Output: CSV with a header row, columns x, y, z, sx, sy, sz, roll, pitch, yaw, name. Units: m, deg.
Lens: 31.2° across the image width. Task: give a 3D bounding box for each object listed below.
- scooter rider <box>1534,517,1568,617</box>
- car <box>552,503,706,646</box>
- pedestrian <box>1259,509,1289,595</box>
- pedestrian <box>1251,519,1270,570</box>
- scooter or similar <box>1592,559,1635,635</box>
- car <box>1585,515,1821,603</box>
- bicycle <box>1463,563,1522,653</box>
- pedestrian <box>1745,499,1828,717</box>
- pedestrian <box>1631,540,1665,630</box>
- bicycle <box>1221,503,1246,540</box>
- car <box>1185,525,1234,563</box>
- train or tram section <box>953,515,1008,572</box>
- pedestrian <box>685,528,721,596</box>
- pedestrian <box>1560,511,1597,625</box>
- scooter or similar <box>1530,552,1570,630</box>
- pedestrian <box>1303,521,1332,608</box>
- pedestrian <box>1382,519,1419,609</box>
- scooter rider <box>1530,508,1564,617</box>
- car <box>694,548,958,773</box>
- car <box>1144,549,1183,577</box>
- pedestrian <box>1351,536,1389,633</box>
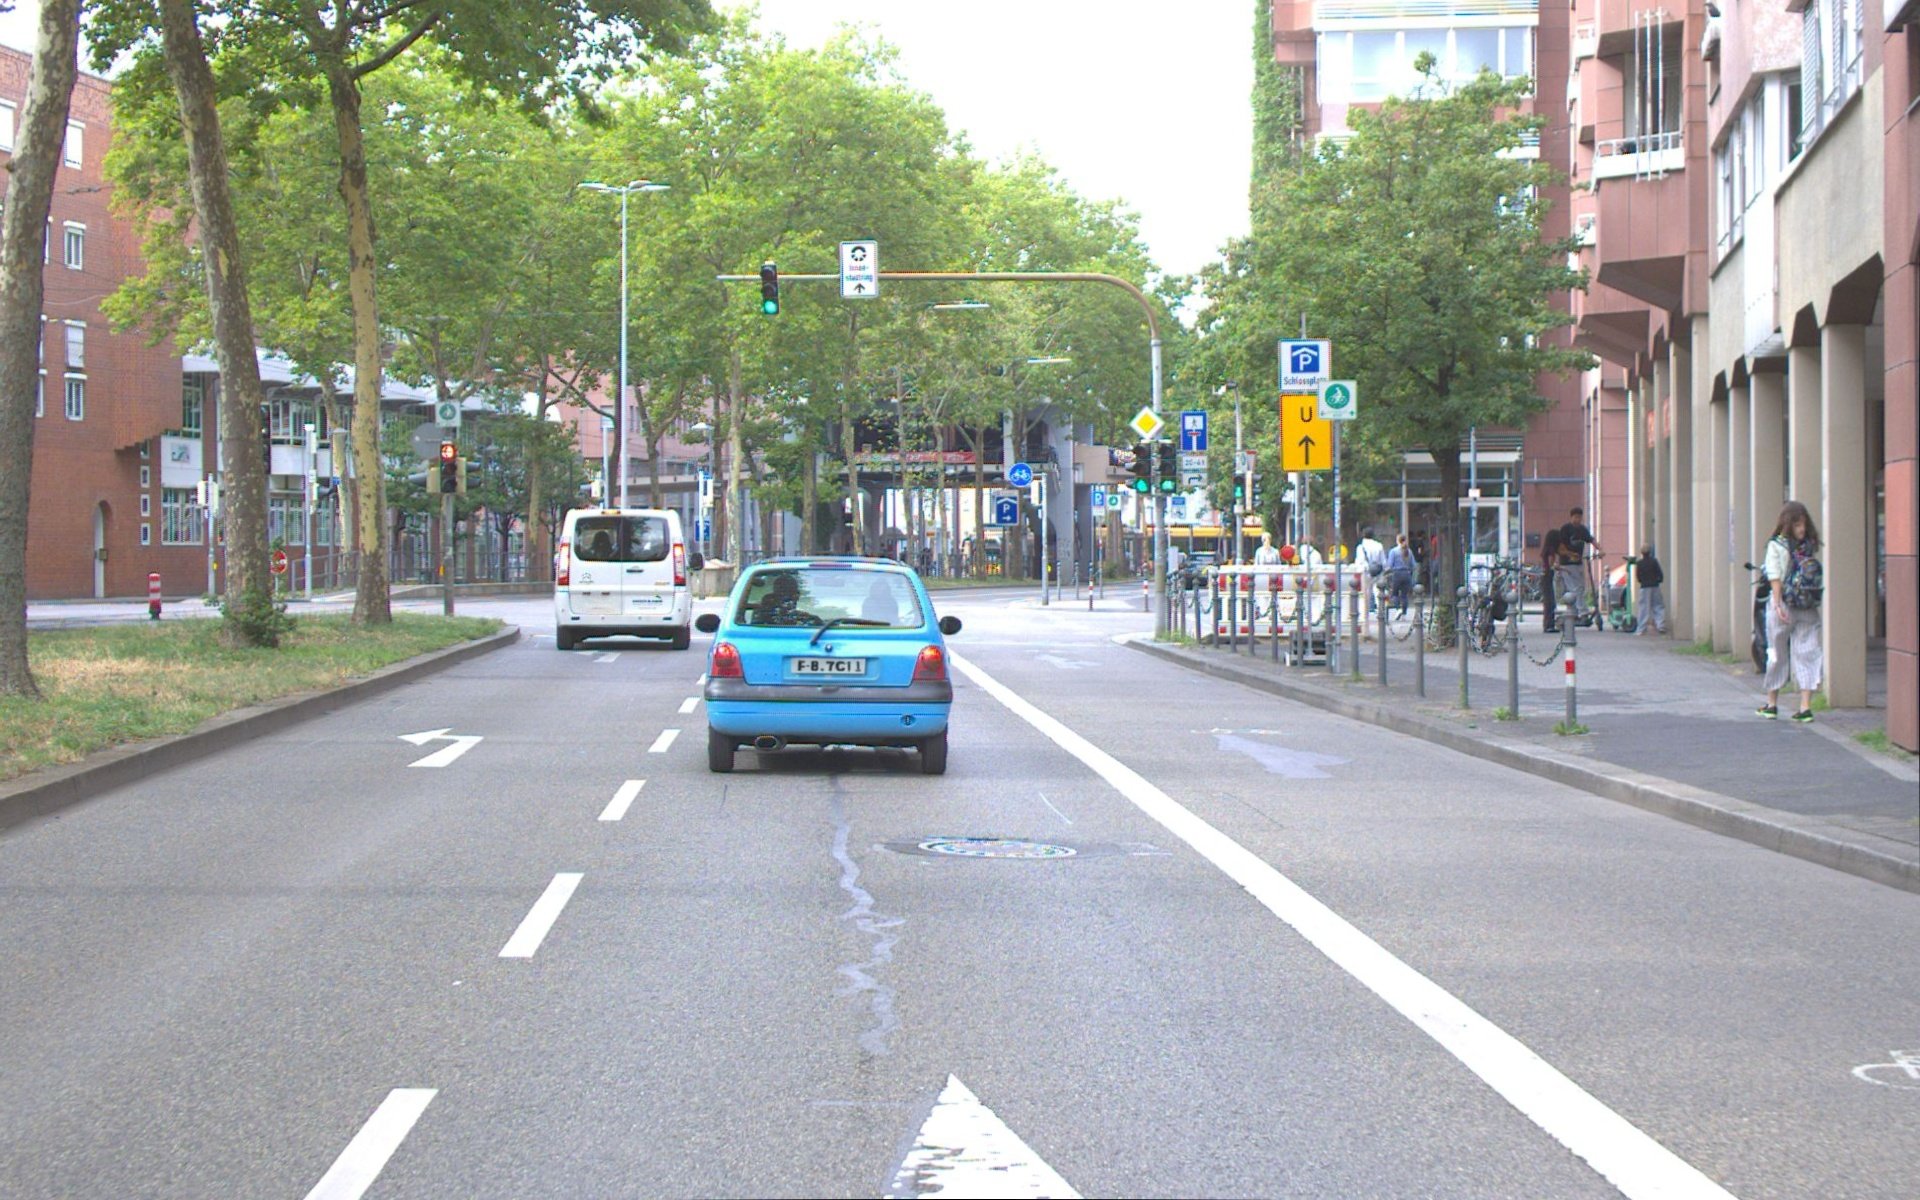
x,y,z,sx,sy,sz,roll,pitch,yaw,name
9.224,-0.514,53.681,0.460,1.552,0.565,0,1,3,scooter rider
-4.652,-0.401,48.896,1.931,1.919,4.956,0,1,-3,car
5.884,-0.899,64.510,0.517,1.610,0.851,0,1,3,pedestrian
11.012,-2.038,126.067,0.647,1.852,0.782,0,1,8,pedestrian
10.232,-0.058,53.837,0.553,1.166,1.406,0,1,7,scooter or similar
15.785,-0.861,73.263,4.829,1.819,1.999,0,-1,10,car
6.792,0.091,43.896,0.612,1.114,1.804,0,1,5,bicycle
6.338,0.052,26.381,0.544,1.644,0.825,0,1,9,pedestrian
10.224,-0.225,51.093,0.487,1.319,0.485,0,1,12,pedestrian
7.525,-2.150,94.657,0.617,1.005,1.735,0,1,3,bicycle
10.564,-2.362,145.452,1.699,1.596,3.999,0,1,10,car
1.247,-3.305,202.624,2.389,3.242,8.816,0,1,6,train or tram section
-6.555,-0.977,87.785,0.553,1.712,0.889,0,1,24,pedestrian
9.740,-0.509,54.155,0.551,1.793,0.657,0,1,9,pedestrian
9.252,-0.144,53.938,0.474,1.202,1.330,0,1,4,scooter or similar
6.682,-0.671,64.258,0.517,1.610,0.851,0,1,4,pedestrian
8.341,-0.687,65.105,0.652,1.695,1.022,0,1,5,pedestrian
9.263,-0.596,54.271,0.462,1.714,0.553,0,1,2,scooter rider
-0.908,0.352,23.487,1.640,1.381,3.843,0,1,-2,car
11.901,-2.193,200.770,1.887,1.618,3.999,0,1,10,car
7.749,-0.293,64.980,0.676,1.822,0.851,0,1,4,pedestrian
